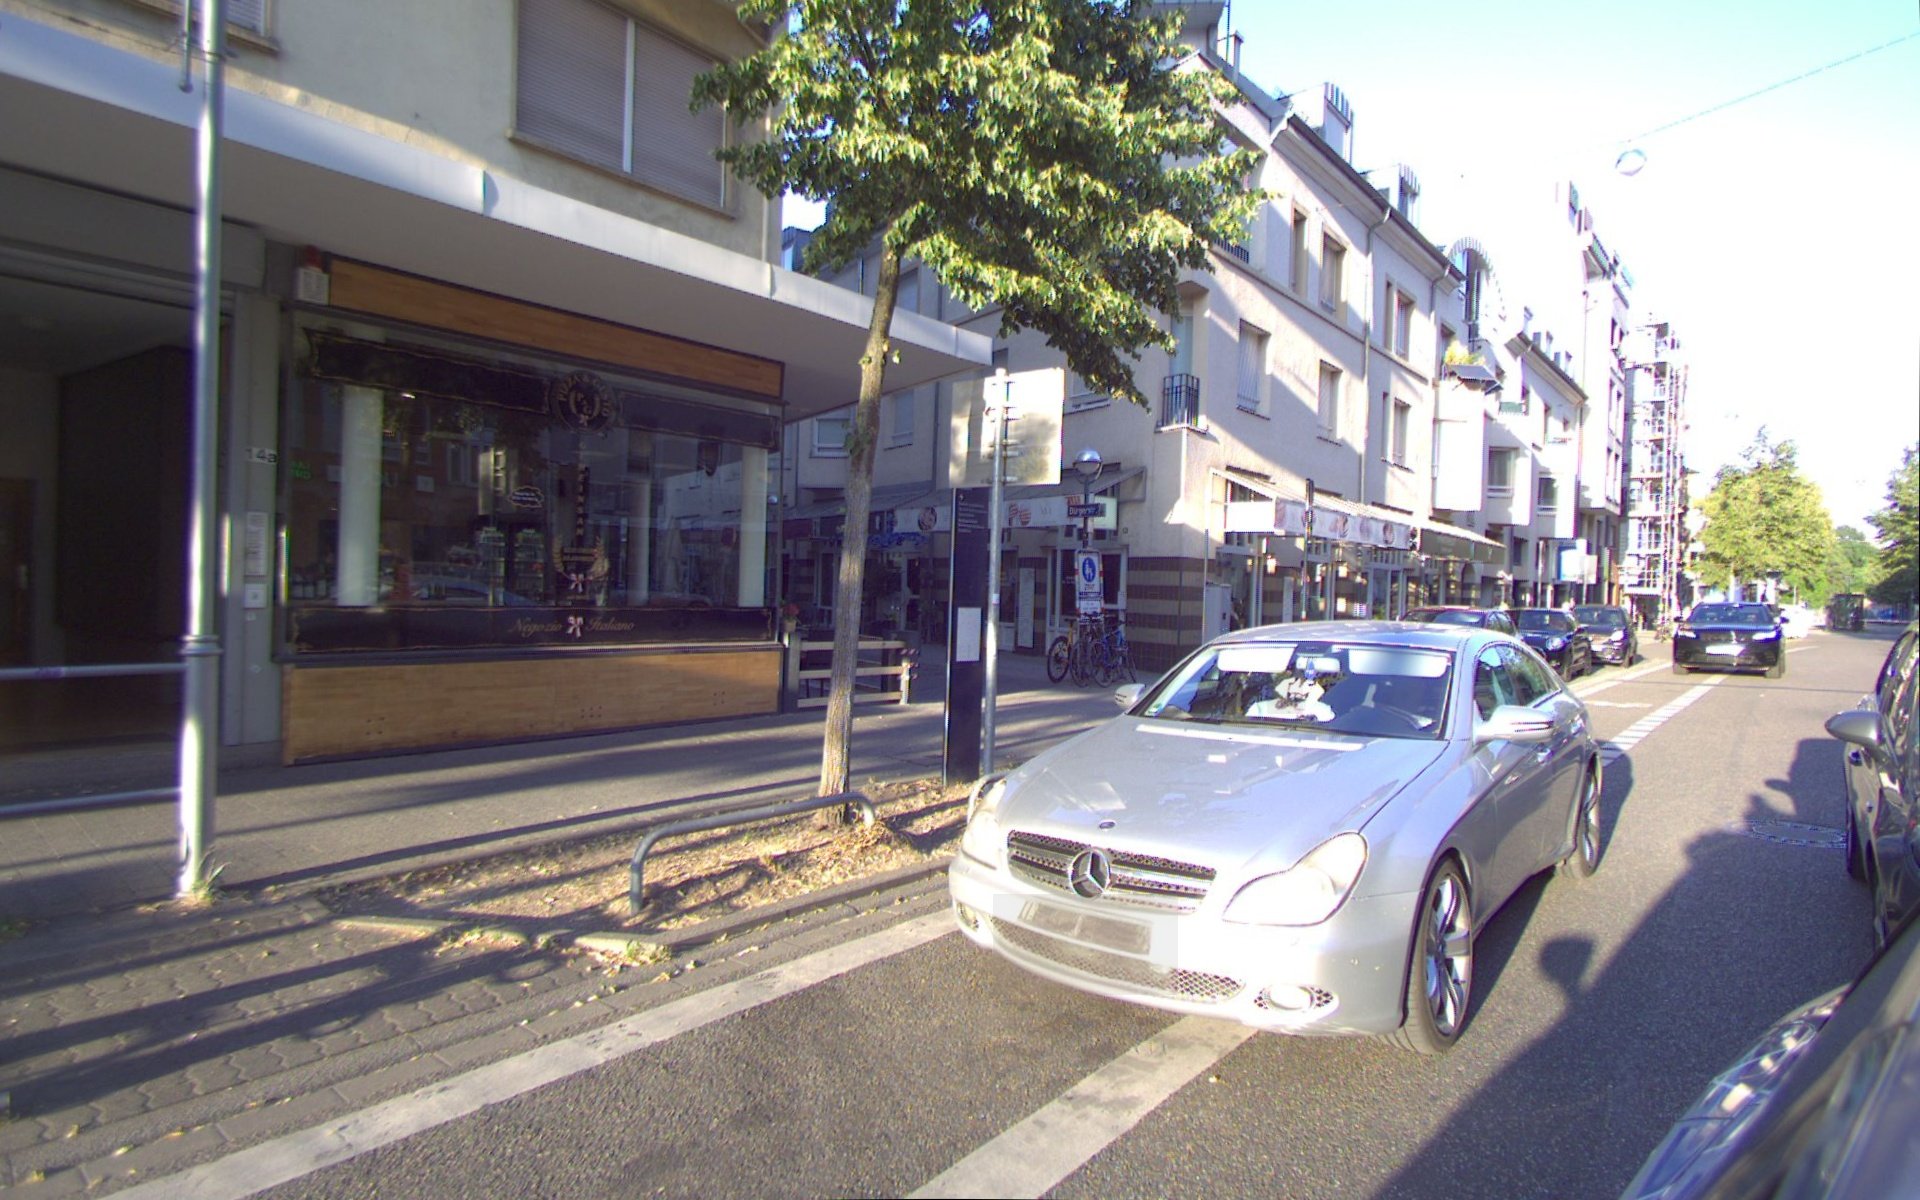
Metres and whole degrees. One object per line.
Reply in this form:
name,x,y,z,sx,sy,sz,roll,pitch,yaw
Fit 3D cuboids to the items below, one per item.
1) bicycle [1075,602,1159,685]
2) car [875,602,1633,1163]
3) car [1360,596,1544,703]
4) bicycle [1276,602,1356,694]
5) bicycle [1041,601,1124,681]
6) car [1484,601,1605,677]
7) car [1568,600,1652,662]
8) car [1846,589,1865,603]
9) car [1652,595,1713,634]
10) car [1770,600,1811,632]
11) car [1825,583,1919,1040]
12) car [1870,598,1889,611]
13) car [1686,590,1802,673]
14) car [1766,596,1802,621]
bicycle,2.411,0.627,15.376,0.330,1.144,1.986,3,2,37
car,1.826,0.725,4.880,1.784,1.386,4.504,0,0,41
car,7.768,0.684,15.810,1.647,1.446,3.940,0,0,41
bicycle,5.271,0.676,14.948,0.503,1.253,1.687,3,2,40
bicycle,1.932,0.606,15.756,0.330,1.144,1.986,1,1,37
car,12.171,0.739,20.974,1.608,1.412,3.642,0,0,39
car,16.938,0.753,26.306,1.426,1.469,3.331,1,1,40
car,106.417,-0.507,120.298,1.667,1.660,3.207,0,0,42
car,31.485,0.604,44.079,1.760,1.592,3.814,3,2,41
car,46.642,0.864,56.803,1.686,1.675,3.679,0,0,41
car,4.842,0.694,4.285,1.580,1.471,3.790,1,1,38
car,133.870,0.600,147.335,3.525,1.829,1.842,-1,0,-44
car,17.725,0.638,22.825,1.889,1.663,3.694,1,1,41
car,57.894,0.603,71.080,1.760,1.652,3.814,3,2,41
